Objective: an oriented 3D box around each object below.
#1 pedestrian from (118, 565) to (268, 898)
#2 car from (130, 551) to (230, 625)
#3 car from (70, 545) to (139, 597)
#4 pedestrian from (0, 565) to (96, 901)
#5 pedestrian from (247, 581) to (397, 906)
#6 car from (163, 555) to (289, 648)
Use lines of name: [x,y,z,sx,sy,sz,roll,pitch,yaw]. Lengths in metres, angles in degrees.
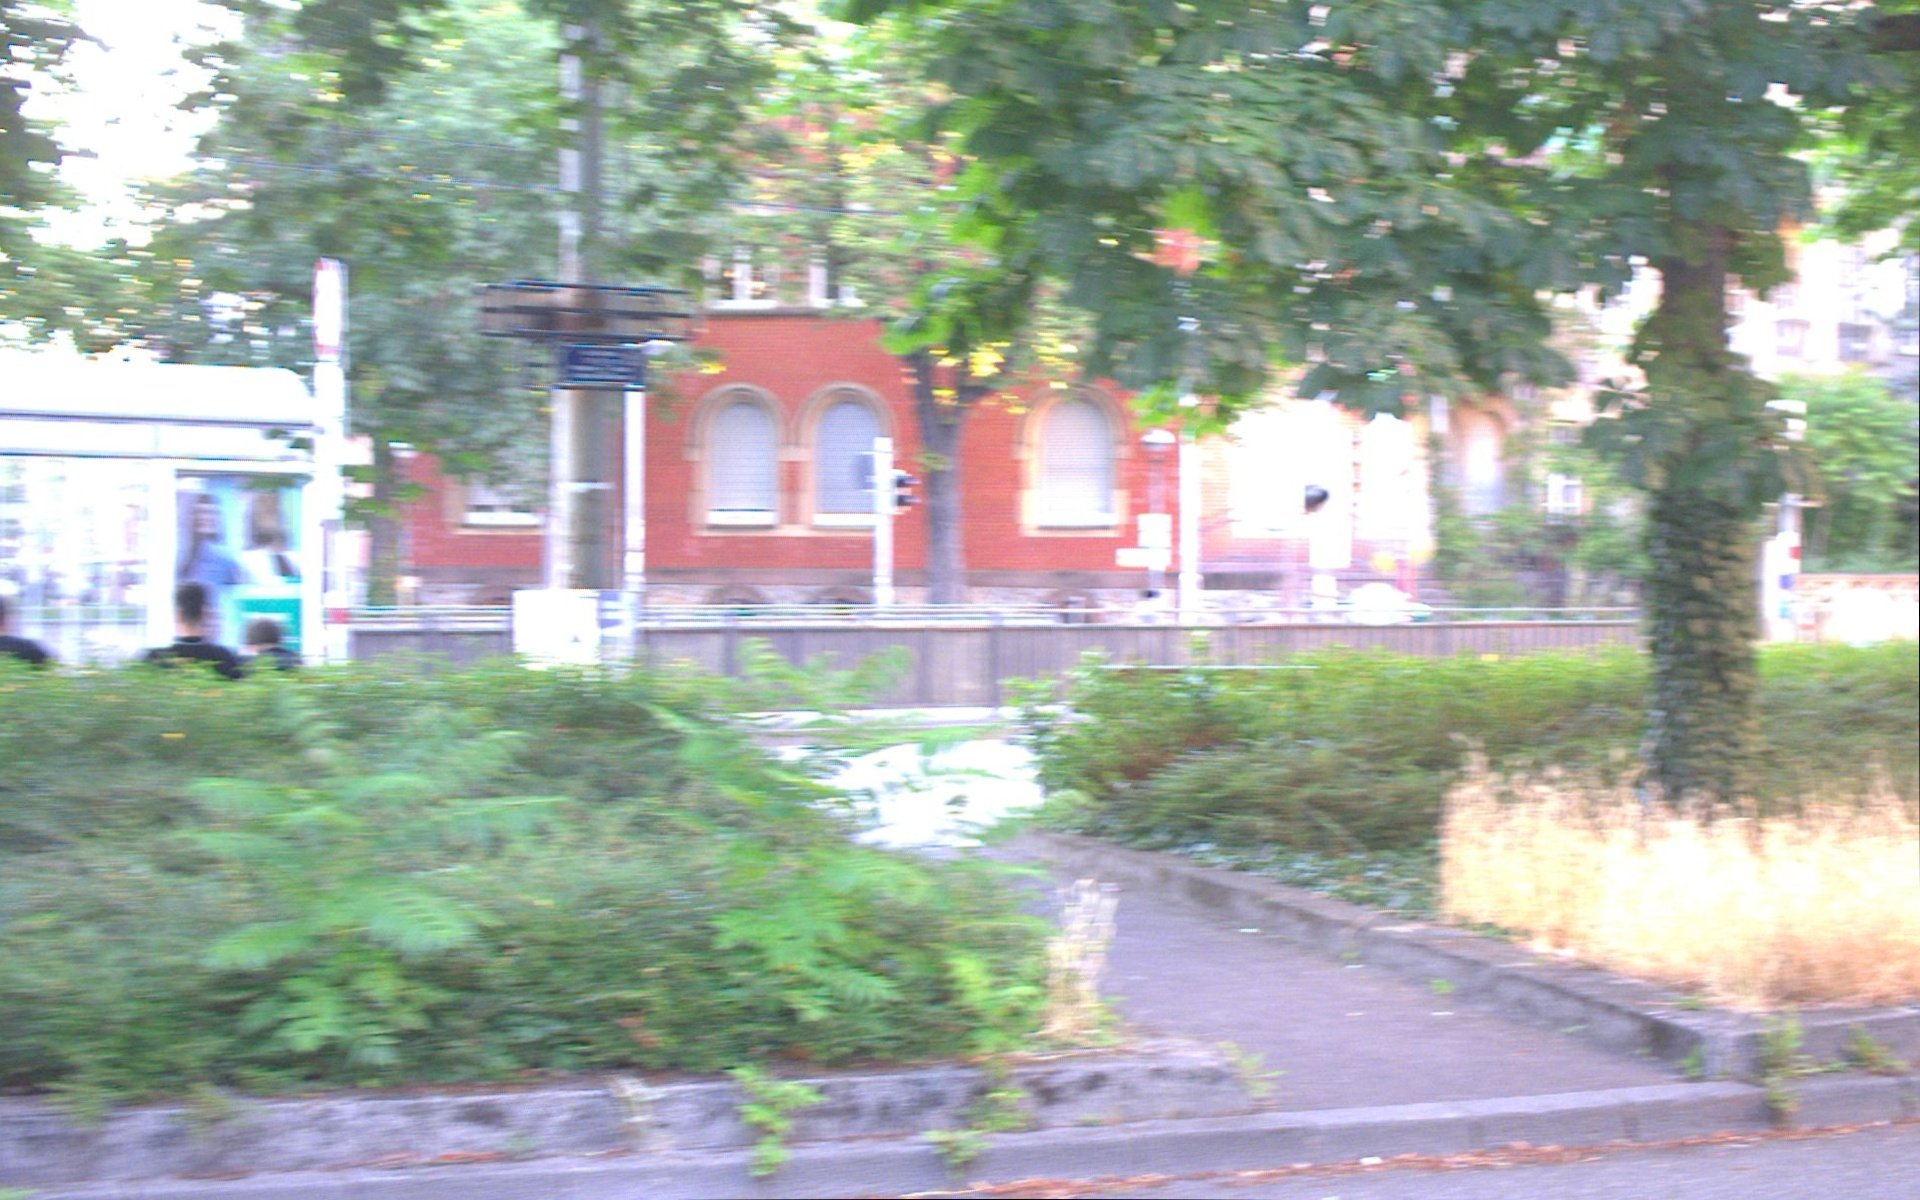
pedestrian: [-3.399,0.566,15.207,0.616,1.426,0.656,0,1,-14]
car: [-18.919,-0.306,83.254,1.993,1.698,4.721,2,0,-17]
car: [-29.216,-0.991,117.326,1.993,1.698,4.721,2,0,-17]
pedestrian: [-4.096,0.564,15.009,0.616,1.426,0.656,0,1,-14]
pedestrian: [-2.903,0.637,15.622,0.616,1.426,0.656,0,1,-14]
car: [-14.454,0.002,67.525,1.993,1.698,4.721,2,0,-17]
